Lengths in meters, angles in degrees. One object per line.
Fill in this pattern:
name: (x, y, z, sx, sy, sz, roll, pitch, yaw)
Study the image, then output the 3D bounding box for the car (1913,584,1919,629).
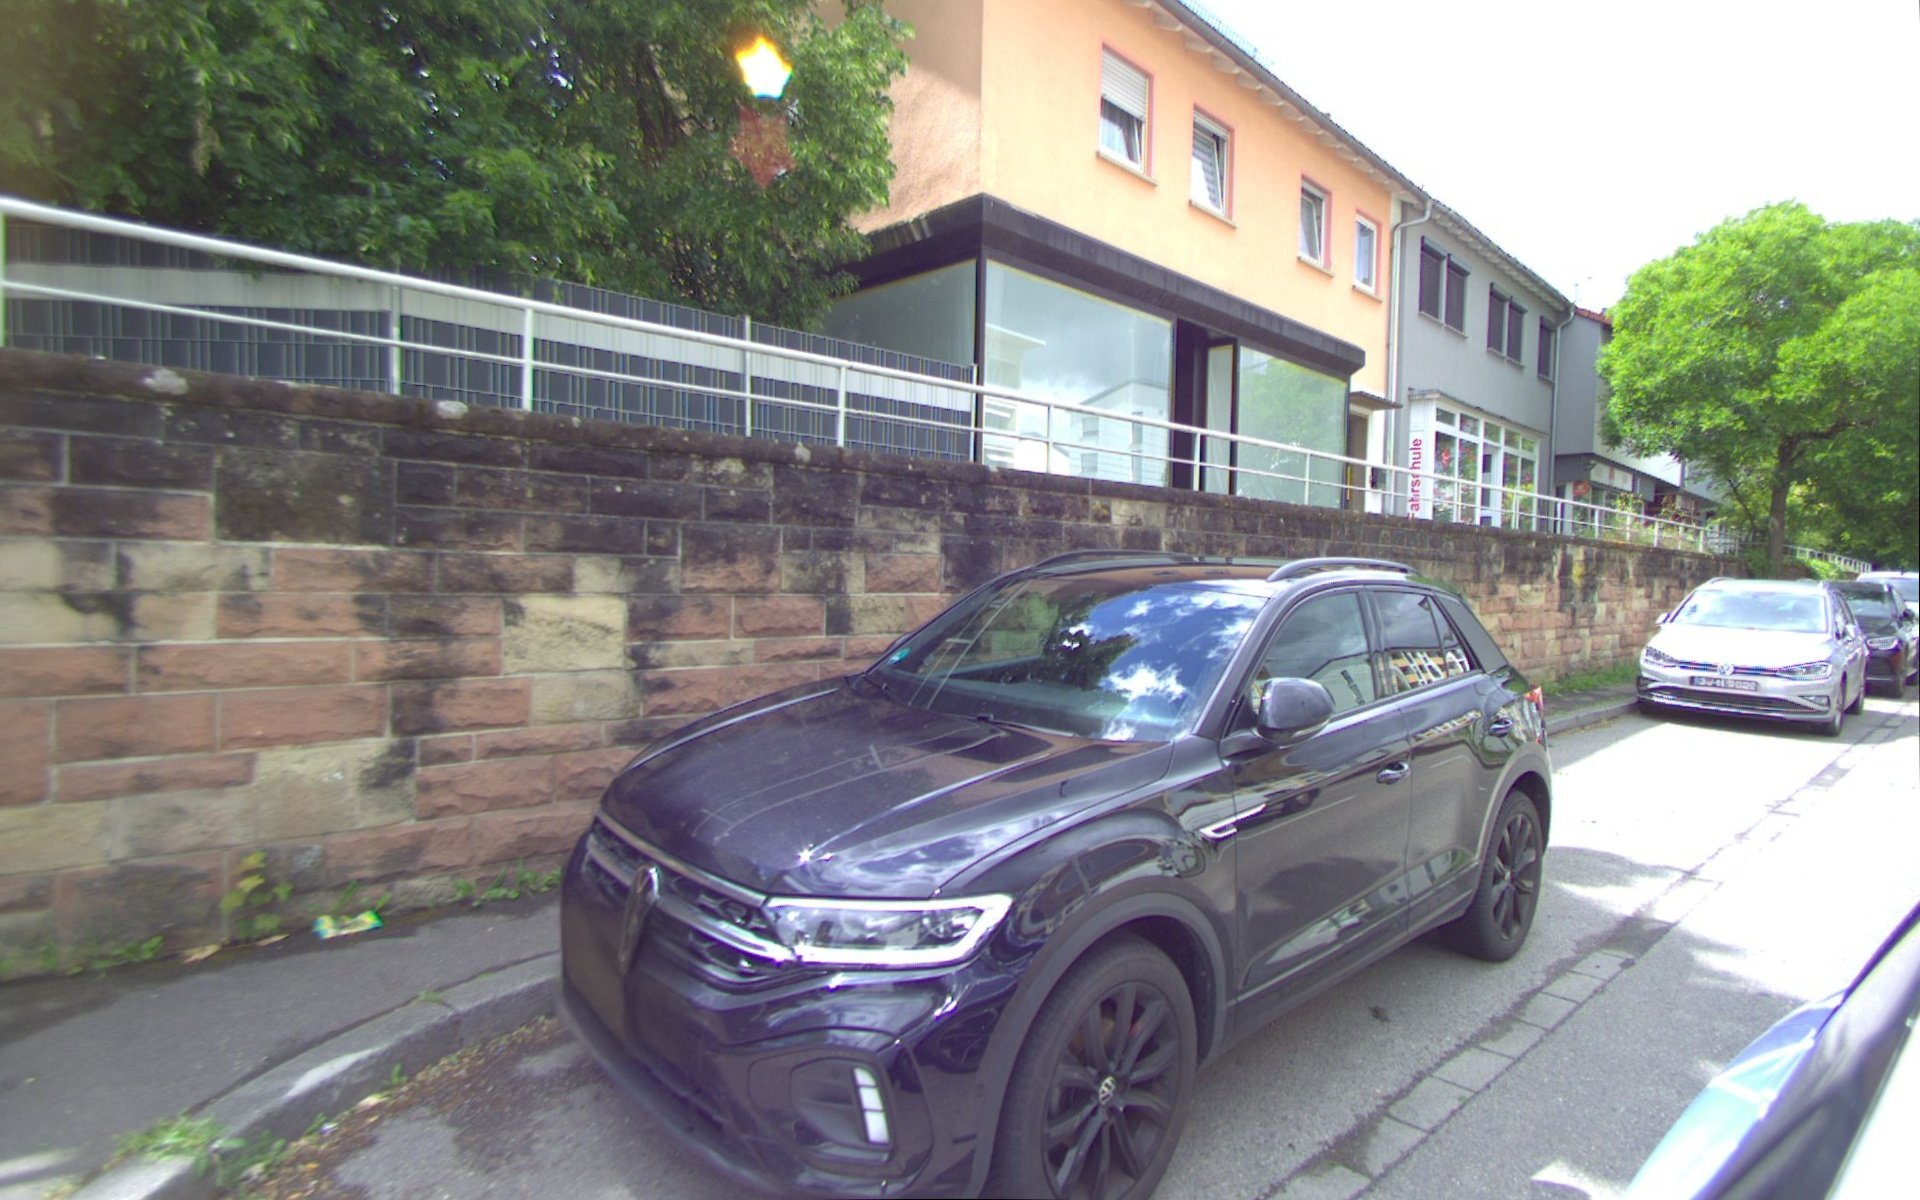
car: (35.412, 0.248, 35.983, 4.730, 1.535, 1.852, -1, 3, -43)

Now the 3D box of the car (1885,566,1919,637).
car: (28.992, 0.027, 29.983, 4.886, 1.961, 1.852, -1, 3, -43)

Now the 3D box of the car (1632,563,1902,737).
car: (9.382, 0.441, 11.645, 4.104, 1.587, 1.758, 0, 4, -43)

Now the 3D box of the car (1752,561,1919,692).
car: (13.788, 0.313, 15.662, 3.932, 1.737, 1.758, -1, 3, -43)

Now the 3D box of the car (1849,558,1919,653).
car: (22.334, 0.092, 23.603, 4.886, 2.033, 1.852, -1, 3, -43)

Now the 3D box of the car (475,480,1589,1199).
car: (0.623, 0.537, 3.643, 3.954, 1.599, 1.758, -1, 3, -43)
